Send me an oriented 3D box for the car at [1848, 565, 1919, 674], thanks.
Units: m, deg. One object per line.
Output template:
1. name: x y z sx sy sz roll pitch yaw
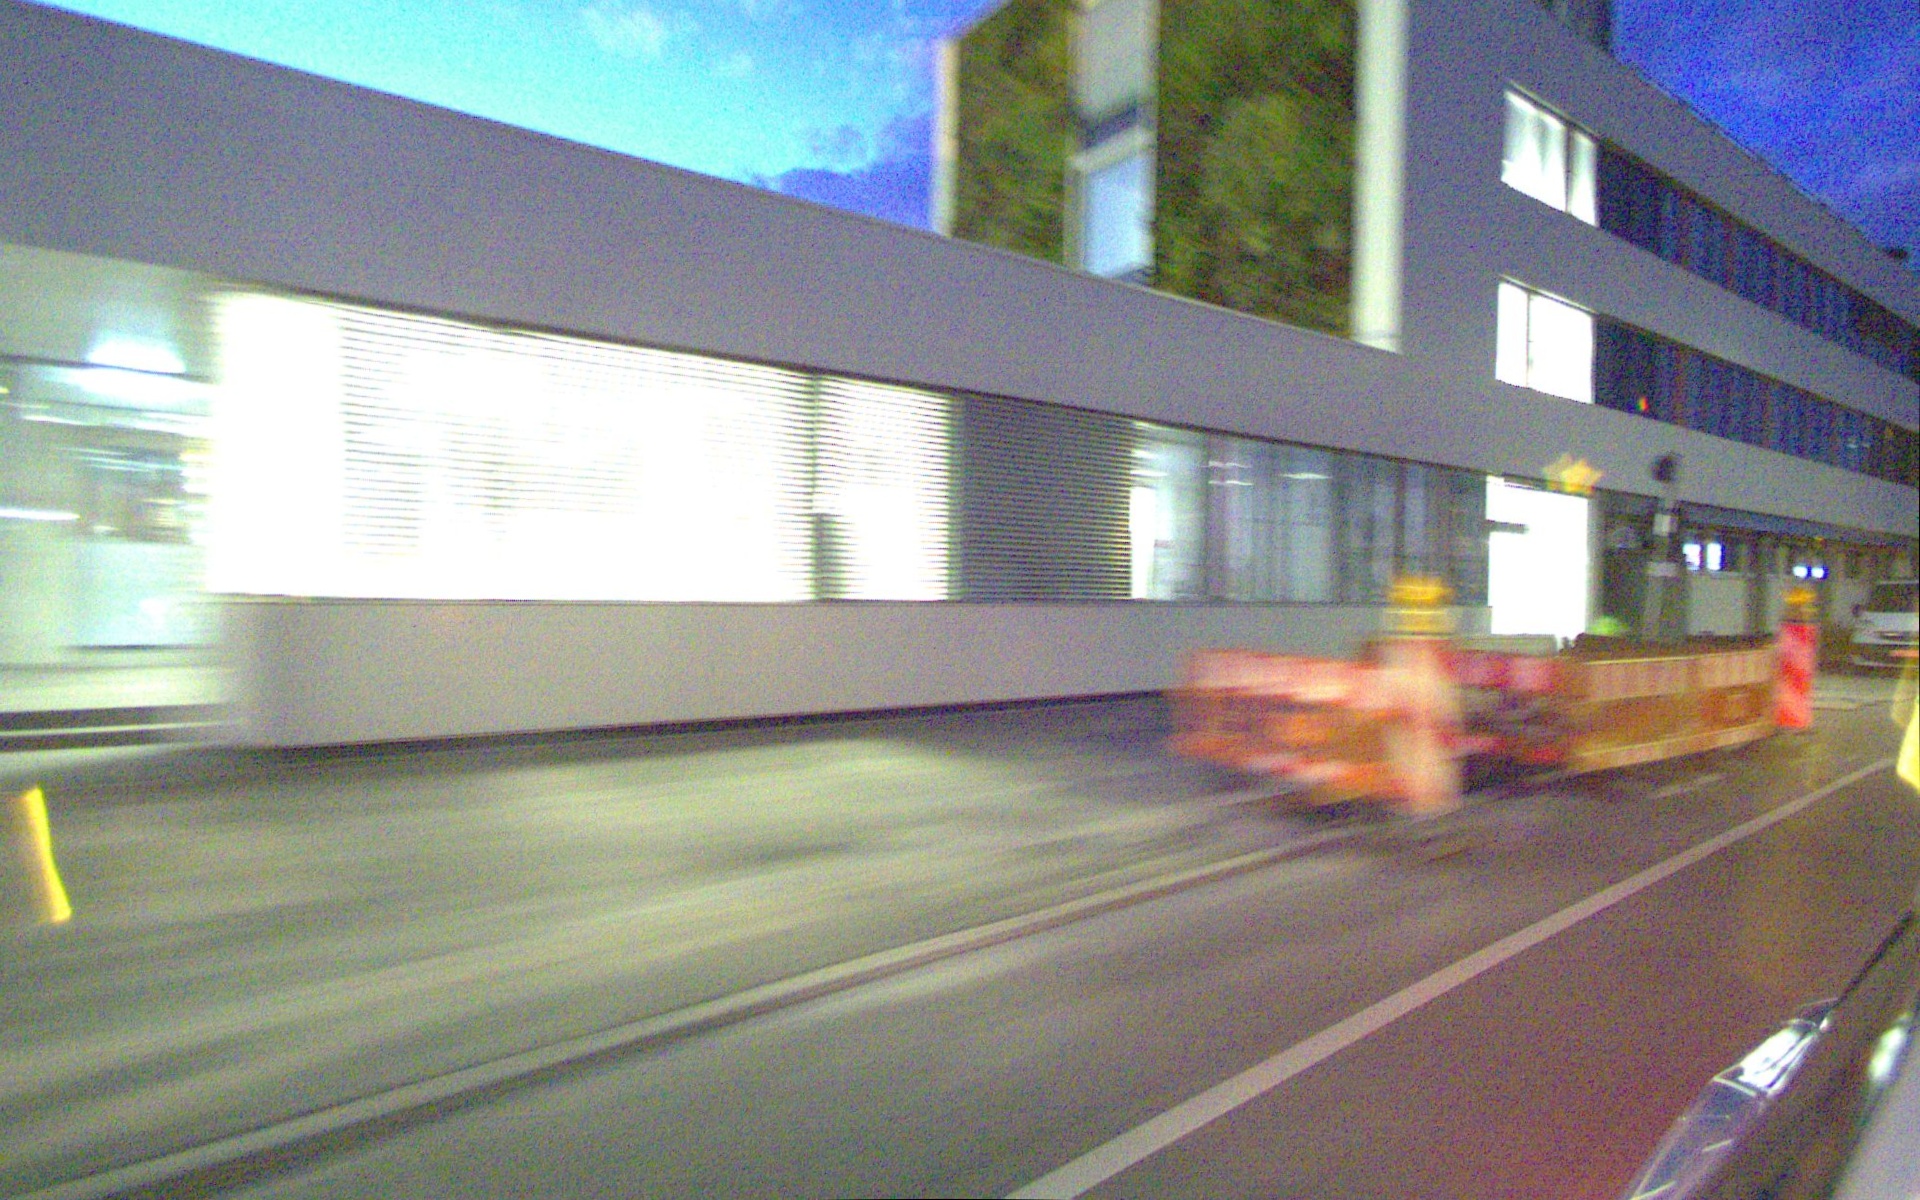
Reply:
1. car: 20.001 0.368 20.369 4.817 2.038 2.001 0 2 -34
